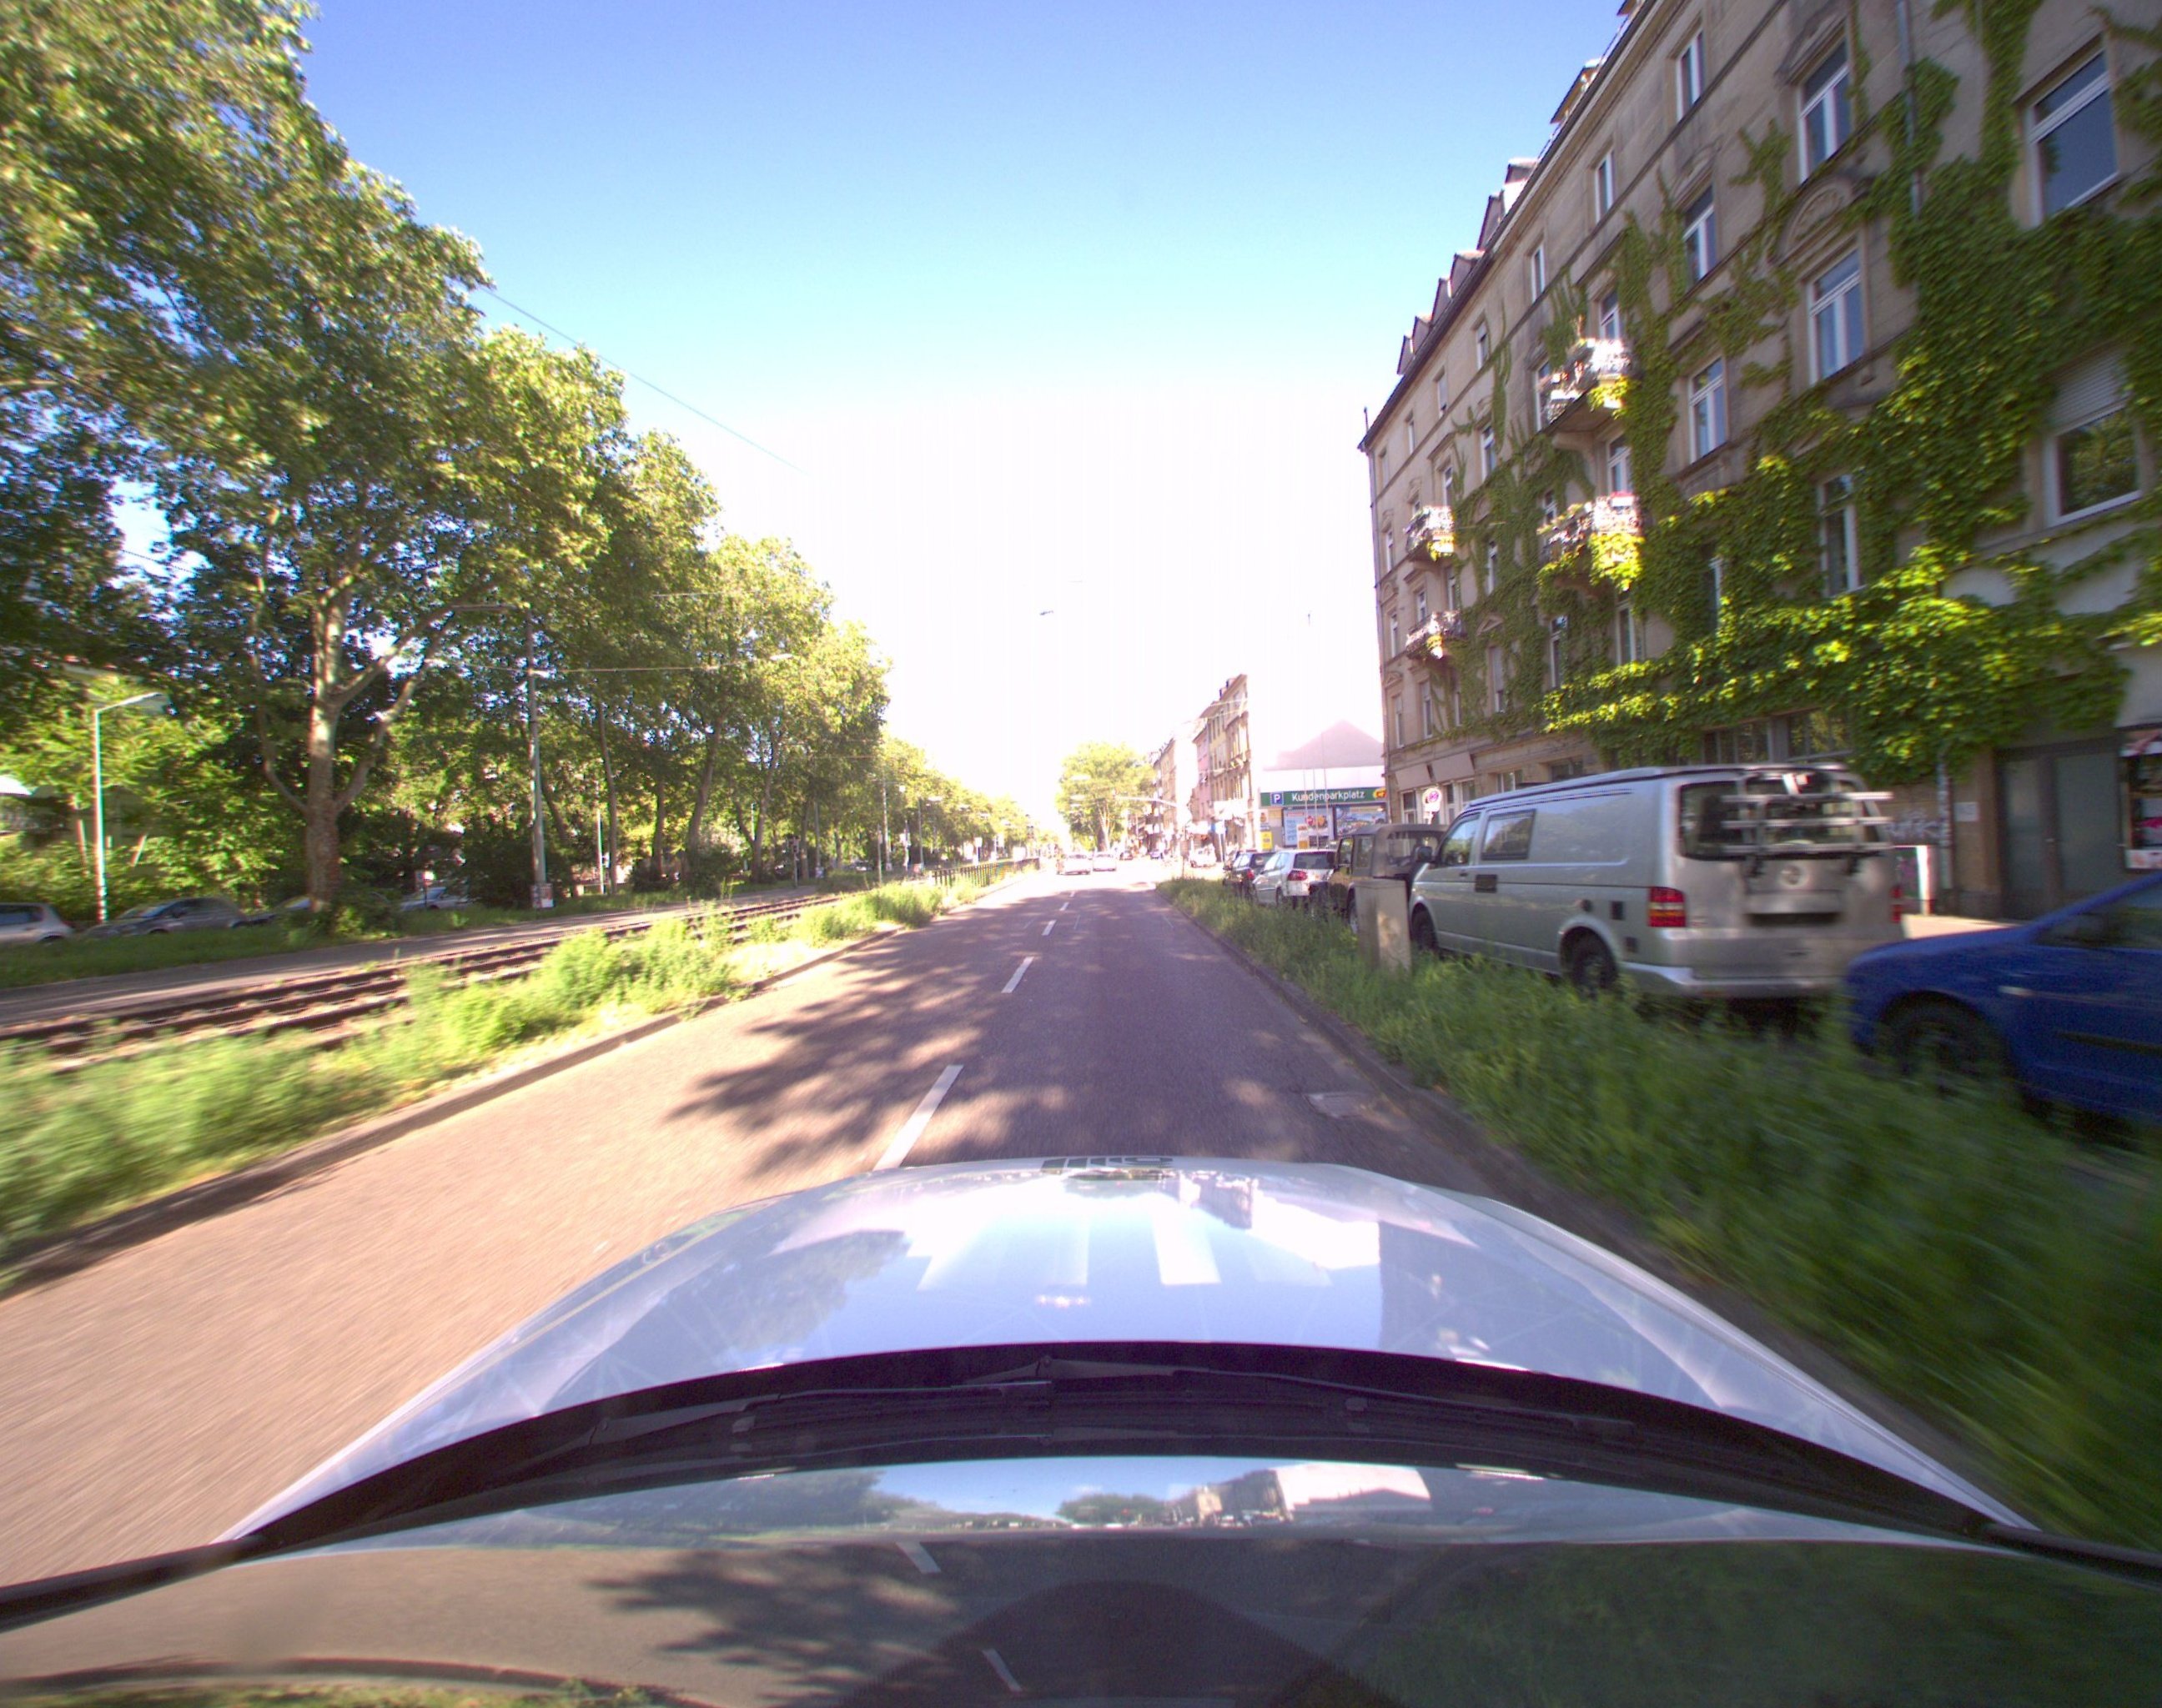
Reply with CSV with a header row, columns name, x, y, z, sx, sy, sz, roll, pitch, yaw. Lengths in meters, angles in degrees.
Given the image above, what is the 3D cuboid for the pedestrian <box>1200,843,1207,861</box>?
name,x,y,z,sx,sy,sz,roll,pitch,yaw
pedestrian,11.554,-0.187,76.661,0.547,1.708,0.389,-3,0,4

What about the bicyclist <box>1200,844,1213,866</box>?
name,x,y,z,sx,sy,sz,roll,pitch,yaw
bicyclist,8.925,0.064,57.964,0.674,1.446,1.182,-6,0,1

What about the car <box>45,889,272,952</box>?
name,x,y,z,sx,sy,sz,roll,pitch,yaw
car,-27.492,1.931,24.542,1.778,1.441,4.320,-3,0,2

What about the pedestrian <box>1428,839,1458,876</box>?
name,x,y,z,sx,sy,sz,roll,pitch,yaw
pedestrian,12.572,0.126,28.310,0.713,1.261,0.713,-2,0,1

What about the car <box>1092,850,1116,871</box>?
name,x,y,z,sx,sy,sz,roll,pitch,yaw
car,1.687,0.474,60.569,1.734,1.467,4.001,-1,0,1

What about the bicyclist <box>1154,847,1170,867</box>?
name,x,y,z,sx,sy,sz,roll,pitch,yaw
bicyclist,6.200,0.241,62.163,0.751,1.462,0.940,-1,-1,-43

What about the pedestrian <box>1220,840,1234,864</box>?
name,x,y,z,sx,sy,sz,roll,pitch,yaw
pedestrian,10.932,-0.151,60.904,0.762,1.755,0.510,-3,0,-19

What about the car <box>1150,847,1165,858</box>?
name,x,y,z,sx,sy,sz,roll,pitch,yaw
car,10.589,-0.210,112.397,1.730,1.519,3.636,-1,0,1

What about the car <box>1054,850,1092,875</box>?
name,x,y,z,sx,sy,sz,roll,pitch,yaw
car,-0.552,0.532,51.723,1.611,1.467,3.872,-2,0,-13

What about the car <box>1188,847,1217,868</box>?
name,x,y,z,sx,sy,sz,roll,pitch,yaw
car,9.402,0.224,63.289,1.557,1.415,4.005,-6,0,1

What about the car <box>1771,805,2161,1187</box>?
name,x,y,z,sx,sy,sz,roll,pitch,yaw
car,4.970,0.523,2.982,1.585,1.479,3.828,-3,0,0

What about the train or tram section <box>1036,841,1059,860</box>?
name,x,y,z,sx,sy,sz,roll,pitch,yaw
train or tram section,-7.486,-0.865,183.510,3.955,3.865,17.493,-2,0,1

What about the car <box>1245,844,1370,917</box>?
name,x,y,z,sx,sy,sz,roll,pitch,yaw
car,5.068,0.540,18.768,1.733,1.517,3.999,0,0,-1

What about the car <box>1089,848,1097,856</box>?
name,x,y,z,sx,sy,sz,roll,pitch,yaw
car,3.444,-0.564,235.198,1.986,2.013,4.001,-3,0,1

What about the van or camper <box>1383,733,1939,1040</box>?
name,x,y,z,sx,sy,sz,roll,pitch,yaw
van or camper,4.917,0.211,8.122,1.877,2.013,5.095,-3,0,0

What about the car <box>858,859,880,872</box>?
name,x,y,z,sx,sy,sz,roll,pitch,yaw
car,-26.414,1.383,101.639,1.664,1.509,4.144,-2,0,0

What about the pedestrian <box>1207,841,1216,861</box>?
name,x,y,z,sx,sy,sz,roll,pitch,yaw
pedestrian,12.277,-0.256,76.534,0.670,1.806,0.531,-3,0,1

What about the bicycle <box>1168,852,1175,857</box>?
name,x,y,z,sx,sy,sz,roll,pitch,yaw
bicycle,13.055,0.086,117.339,0.752,0.770,1.945,-2,0,0

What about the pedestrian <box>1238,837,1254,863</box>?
name,x,y,z,sx,sy,sz,roll,pitch,yaw
pedestrian,12.018,-0.269,59.274,0.762,1.841,0.744,-3,0,-17

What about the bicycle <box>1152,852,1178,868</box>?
name,x,y,z,sx,sy,sz,roll,pitch,yaw
bicycle,6.395,0.468,61.955,0.763,1.102,1.930,-3,0,-42

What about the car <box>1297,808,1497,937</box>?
name,x,y,z,sx,sy,sz,roll,pitch,yaw
car,5.084,0.257,13.738,1.857,1.764,4.002,-3,0,2

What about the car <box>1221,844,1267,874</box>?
name,x,y,z,sx,sy,sz,roll,pitch,yaw
car,9.568,0.269,48.171,1.826,1.487,4.736,-5,0,2

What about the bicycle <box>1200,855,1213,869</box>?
name,x,y,z,sx,sy,sz,roll,pitch,yaw
bicycle,8.951,0.581,57.979,0.647,0.920,1.918,-3,0,2

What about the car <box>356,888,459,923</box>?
name,x,y,z,sx,sy,sz,roll,pitch,yaw
car,-26.888,2.041,32.627,1.468,1.116,3.216,-3,0,-2

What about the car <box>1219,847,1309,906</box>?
name,x,y,z,sx,sy,sz,roll,pitch,yaw
car,5.094,0.578,23.157,1.635,1.517,3.999,0,0,-1

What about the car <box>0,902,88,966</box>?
name,x,y,z,sx,sy,sz,roll,pitch,yaw
car,-27.045,2.026,19.243,1.729,1.440,4.320,-3,0,2

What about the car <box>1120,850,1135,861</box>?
name,x,y,z,sx,sy,sz,roll,pitch,yaw
car,6.359,0.170,111.262,1.730,1.433,3.677,-1,0,0
